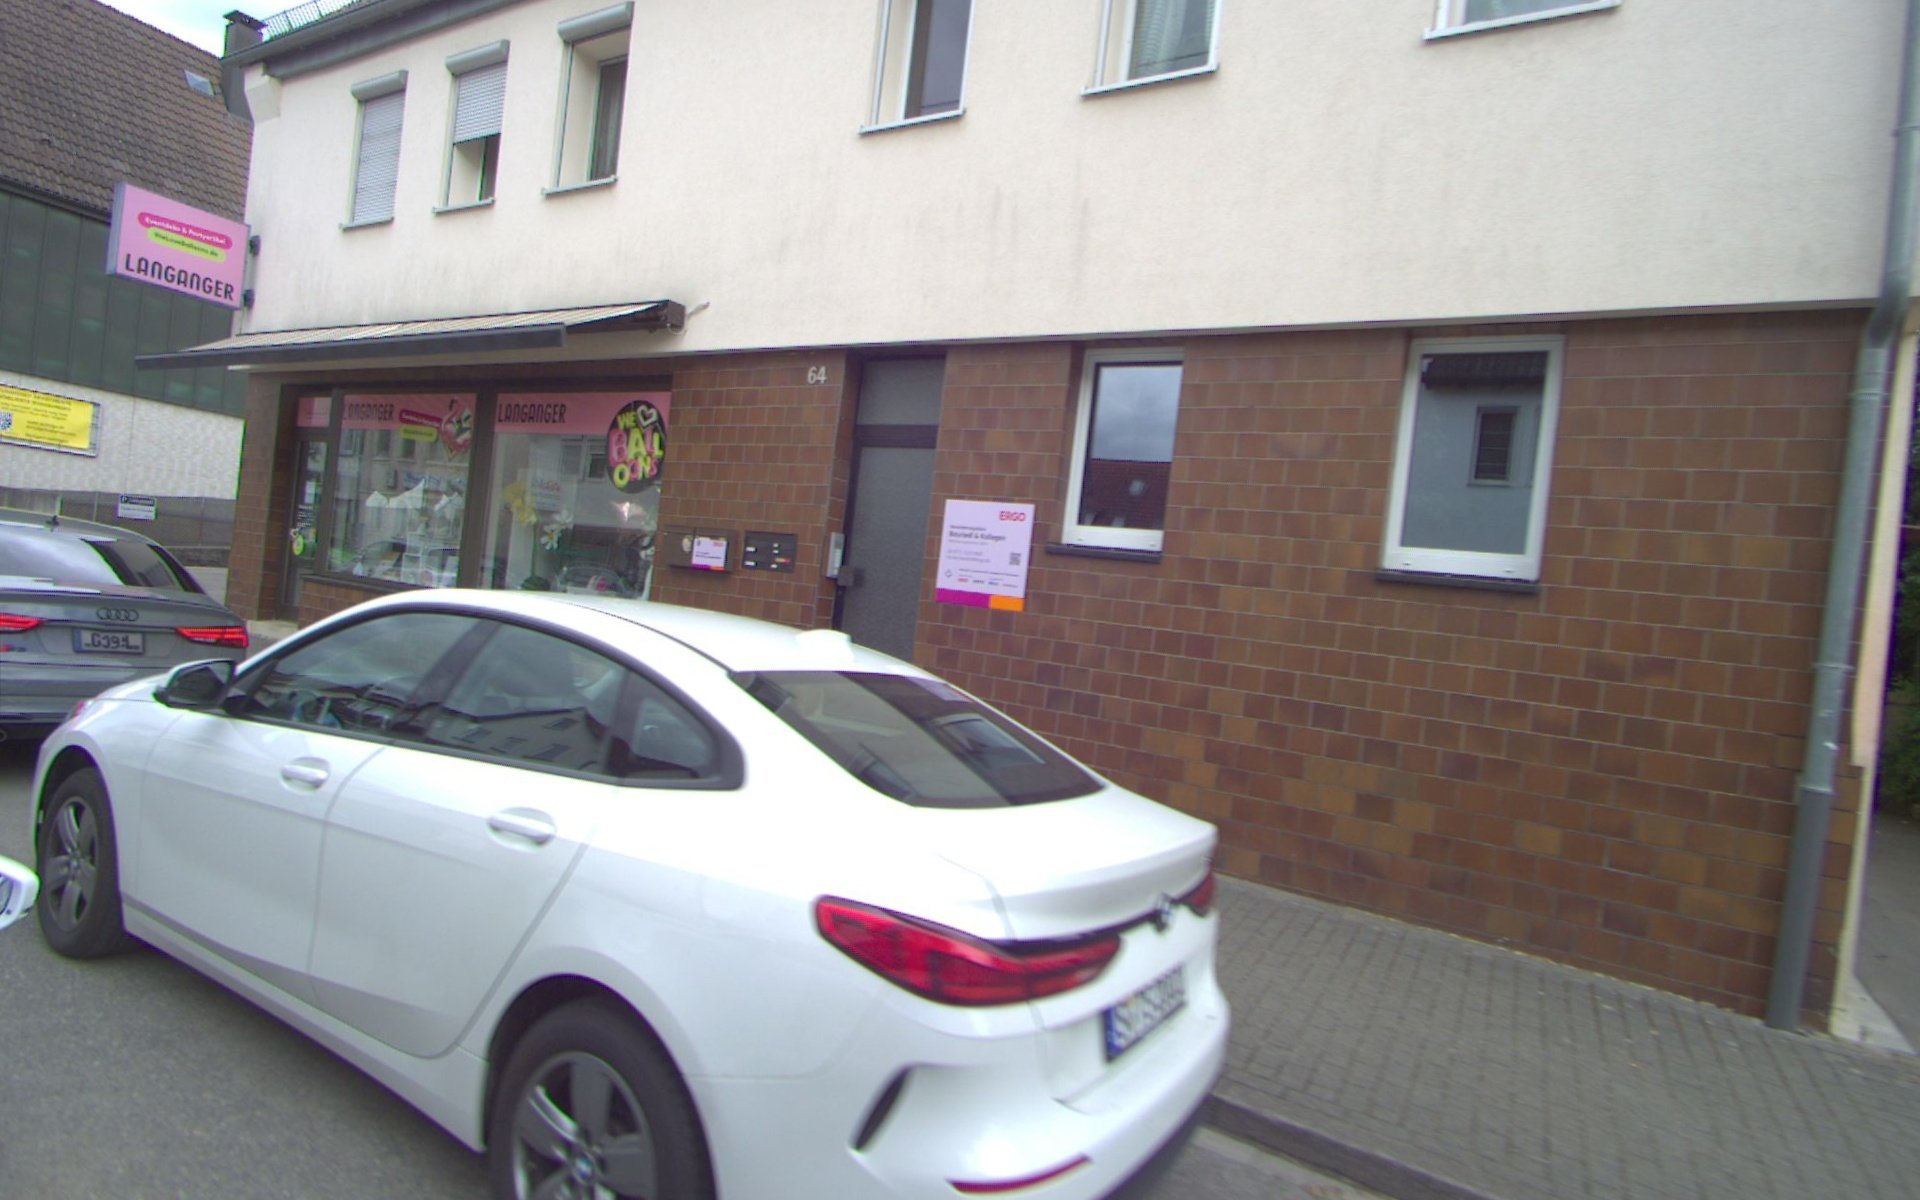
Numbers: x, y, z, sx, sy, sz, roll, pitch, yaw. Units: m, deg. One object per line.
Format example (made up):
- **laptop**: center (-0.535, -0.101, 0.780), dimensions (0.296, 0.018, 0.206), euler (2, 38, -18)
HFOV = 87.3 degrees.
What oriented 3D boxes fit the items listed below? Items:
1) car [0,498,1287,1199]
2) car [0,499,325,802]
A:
- **car**: center (-1.336, 0.653, 3.402), dimensions (4.257, 1.463, 1.835), euler (7, -1, 29)
- **car**: center (-6.141, 0.096, 6.358), dimensions (4.040, 1.463, 1.835), euler (7, -1, 30)
